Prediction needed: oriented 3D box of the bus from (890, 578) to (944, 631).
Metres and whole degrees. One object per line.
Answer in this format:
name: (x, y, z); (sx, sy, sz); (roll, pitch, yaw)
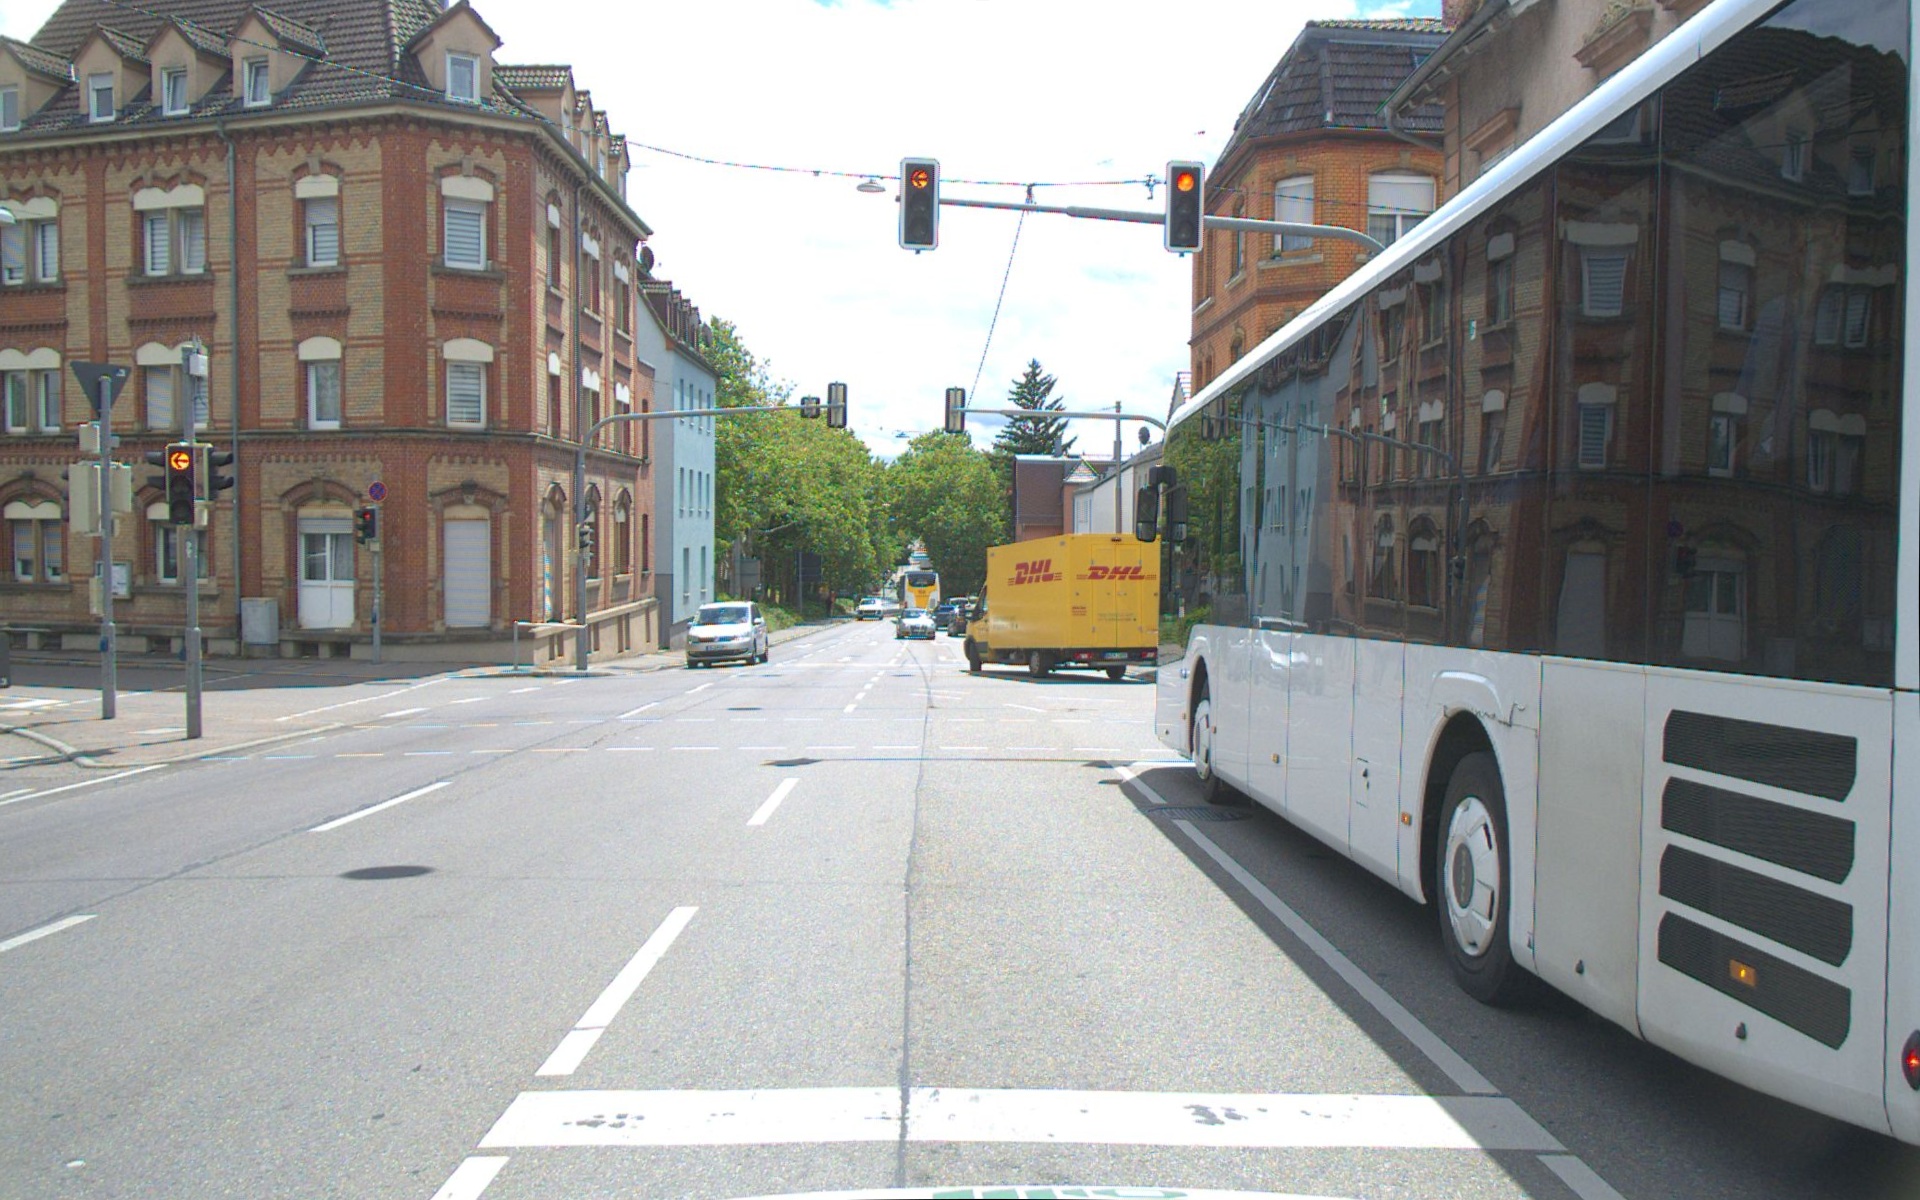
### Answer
bus: (-3.221, 0.288, 121.332); (3.236, 3.694, 11.232); (-1, 0, -5)

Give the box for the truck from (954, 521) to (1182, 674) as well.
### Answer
truck: (2.132, -0.032, 35.467); (2.503, 2.964, 6.535); (1, 0, -19)

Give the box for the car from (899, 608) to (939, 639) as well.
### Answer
car: (-1.936, 1.095, 78.137); (1.827, 1.391, 4.546); (0, 0, -1)

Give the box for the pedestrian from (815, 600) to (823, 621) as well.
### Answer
pedestrian: (-11.612, 0.860, 136.332); (0.594, 1.789, 0.653); (0, 0, -2)

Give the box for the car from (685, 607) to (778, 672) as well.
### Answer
car: (-6.025, 1.013, 44.043); (1.896, 1.591, 4.388); (0, 0, -1)

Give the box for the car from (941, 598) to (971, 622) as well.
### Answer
car: (-0.327, 0.790, 129.344); (2.050, 1.862, 4.139); (0, 0, -4)

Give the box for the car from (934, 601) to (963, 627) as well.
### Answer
car: (-0.678, 0.792, 94.654); (1.576, 1.400, 3.999); (0, 0, -1)

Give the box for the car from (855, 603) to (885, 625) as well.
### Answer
car: (-7.100, 1.111, 130.603); (2.162, 1.641, 4.546); (0, 0, -1)

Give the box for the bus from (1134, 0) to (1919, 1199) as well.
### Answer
bus: (3.184, -0.253, 9.386); (2.845, 3.571, 12.484); (1, 0, -1)

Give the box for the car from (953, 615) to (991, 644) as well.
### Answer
car: (0.605, 1.468, 84.317); (1.827, 1.391, 4.546); (0, 0, -1)
